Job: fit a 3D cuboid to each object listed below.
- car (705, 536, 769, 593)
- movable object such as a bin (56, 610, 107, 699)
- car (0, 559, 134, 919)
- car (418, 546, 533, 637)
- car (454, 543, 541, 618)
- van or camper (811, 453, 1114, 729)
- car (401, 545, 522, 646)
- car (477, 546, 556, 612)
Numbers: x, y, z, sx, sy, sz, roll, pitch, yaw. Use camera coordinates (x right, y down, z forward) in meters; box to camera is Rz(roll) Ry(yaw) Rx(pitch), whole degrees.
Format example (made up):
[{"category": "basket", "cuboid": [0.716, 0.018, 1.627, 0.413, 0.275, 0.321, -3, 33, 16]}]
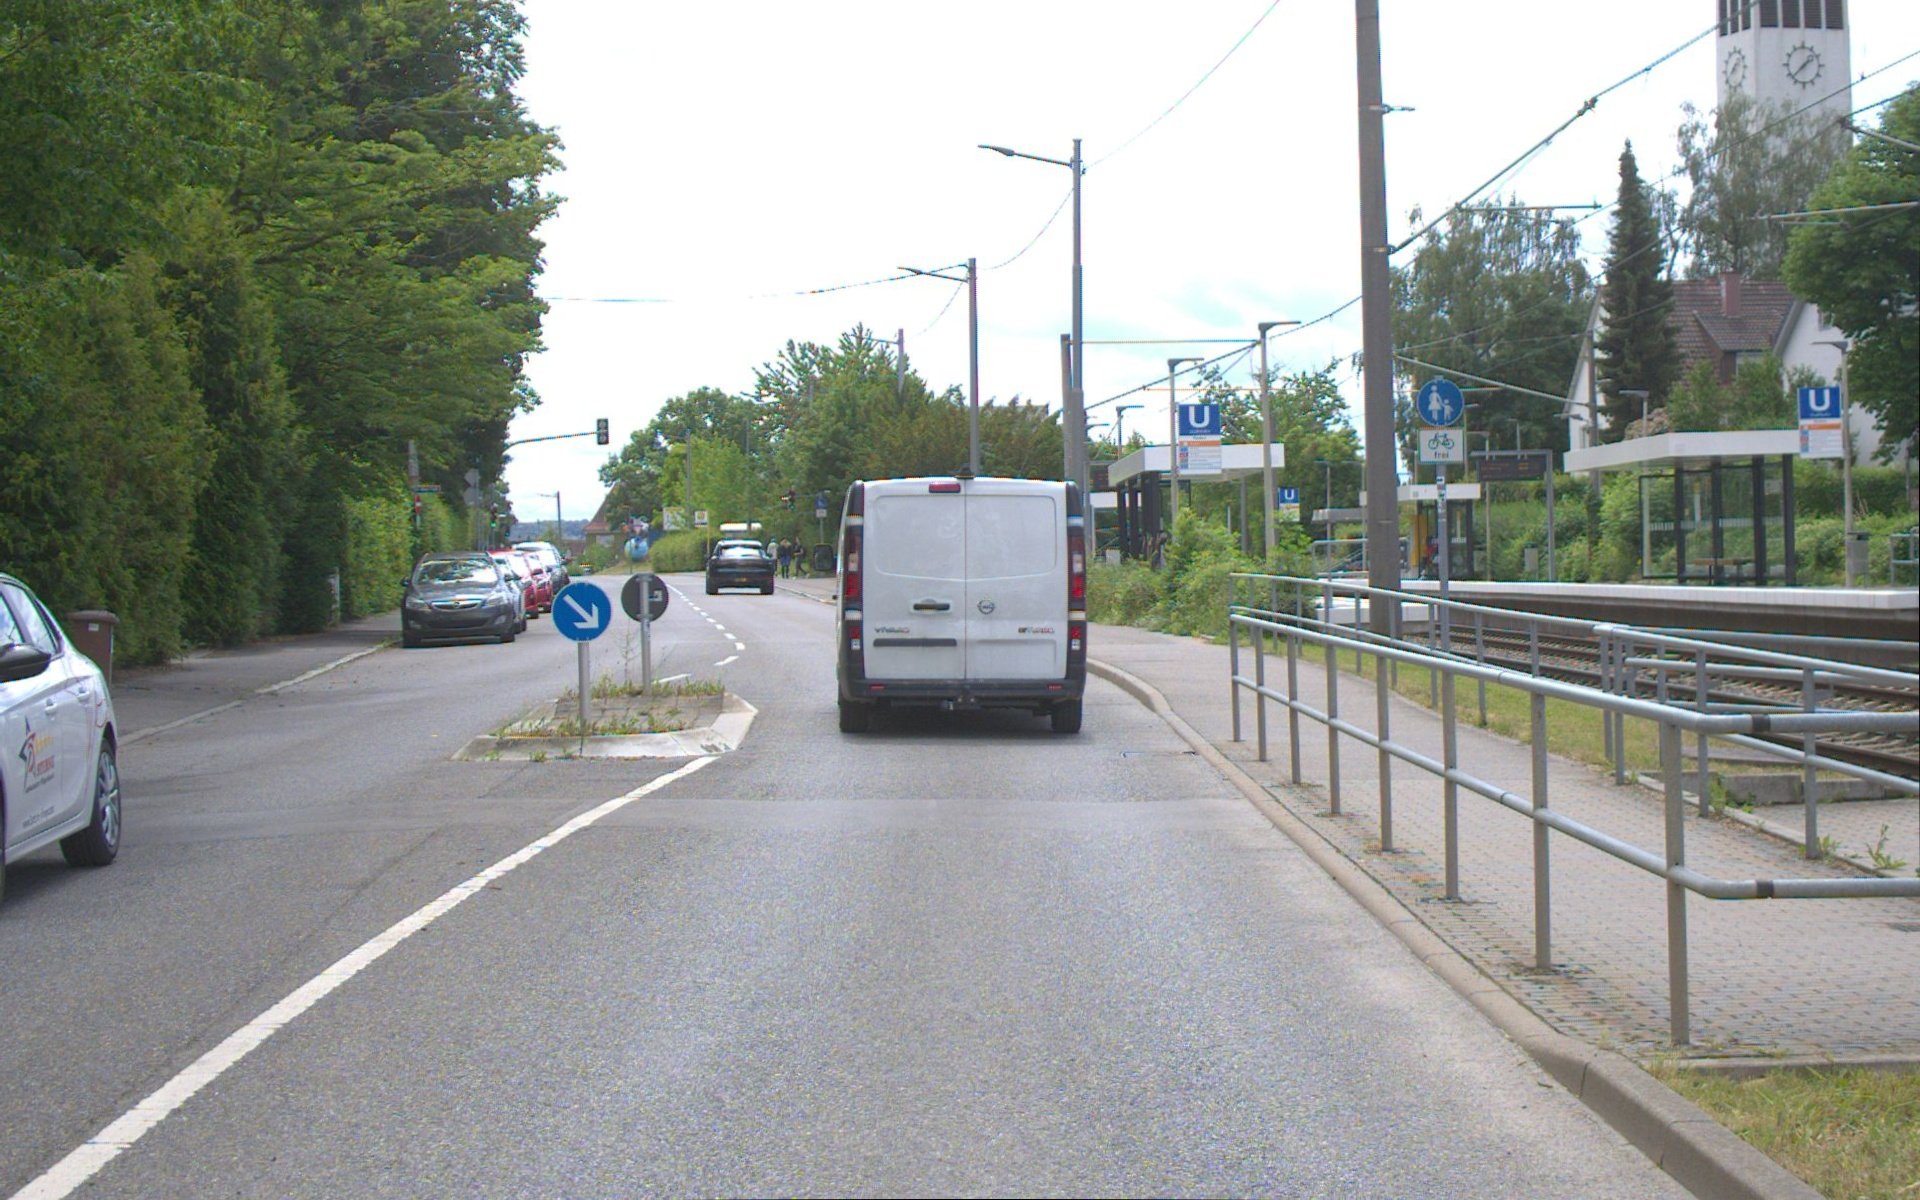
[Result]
[{"category": "car", "cuboid": [-6.637, -1.056, 102.456, 1.852, 1.642, 3.735, -1, 1, -3]}, {"category": "movable object such as a bin", "cuboid": [-9.364, 0.577, 36.640, 0.462, 0.927, 0.430, 2, -1, -17]}, {"category": "car", "cuboid": [-4.755, 0.579, 14.713, 1.693, 1.426, 3.787, -3, 1, -4]}, {"category": "car", "cuboid": [-8.638, -0.181, 61.508, 1.736, 1.499, 3.963, -3, 1, -4]}, {"category": "car", "cuboid": [-9.860, -0.446, 73.516, 1.588, 1.499, 3.515, -2, 1, -4]}, {"category": "van or camper", "cuboid": [-0.076, -0.079, 27.337, 1.993, 2.007, 4.446, 0, 0, -5]}, {"category": "car", "cuboid": [-8.085, -0.107, 56.036, 1.736, 1.499, 4.478, -3, 1, -6]}, {"category": "car", "cuboid": [-10.429, -0.515, 81.015, 1.761, 1.466, 4.186, -2, 1, -7]}]
